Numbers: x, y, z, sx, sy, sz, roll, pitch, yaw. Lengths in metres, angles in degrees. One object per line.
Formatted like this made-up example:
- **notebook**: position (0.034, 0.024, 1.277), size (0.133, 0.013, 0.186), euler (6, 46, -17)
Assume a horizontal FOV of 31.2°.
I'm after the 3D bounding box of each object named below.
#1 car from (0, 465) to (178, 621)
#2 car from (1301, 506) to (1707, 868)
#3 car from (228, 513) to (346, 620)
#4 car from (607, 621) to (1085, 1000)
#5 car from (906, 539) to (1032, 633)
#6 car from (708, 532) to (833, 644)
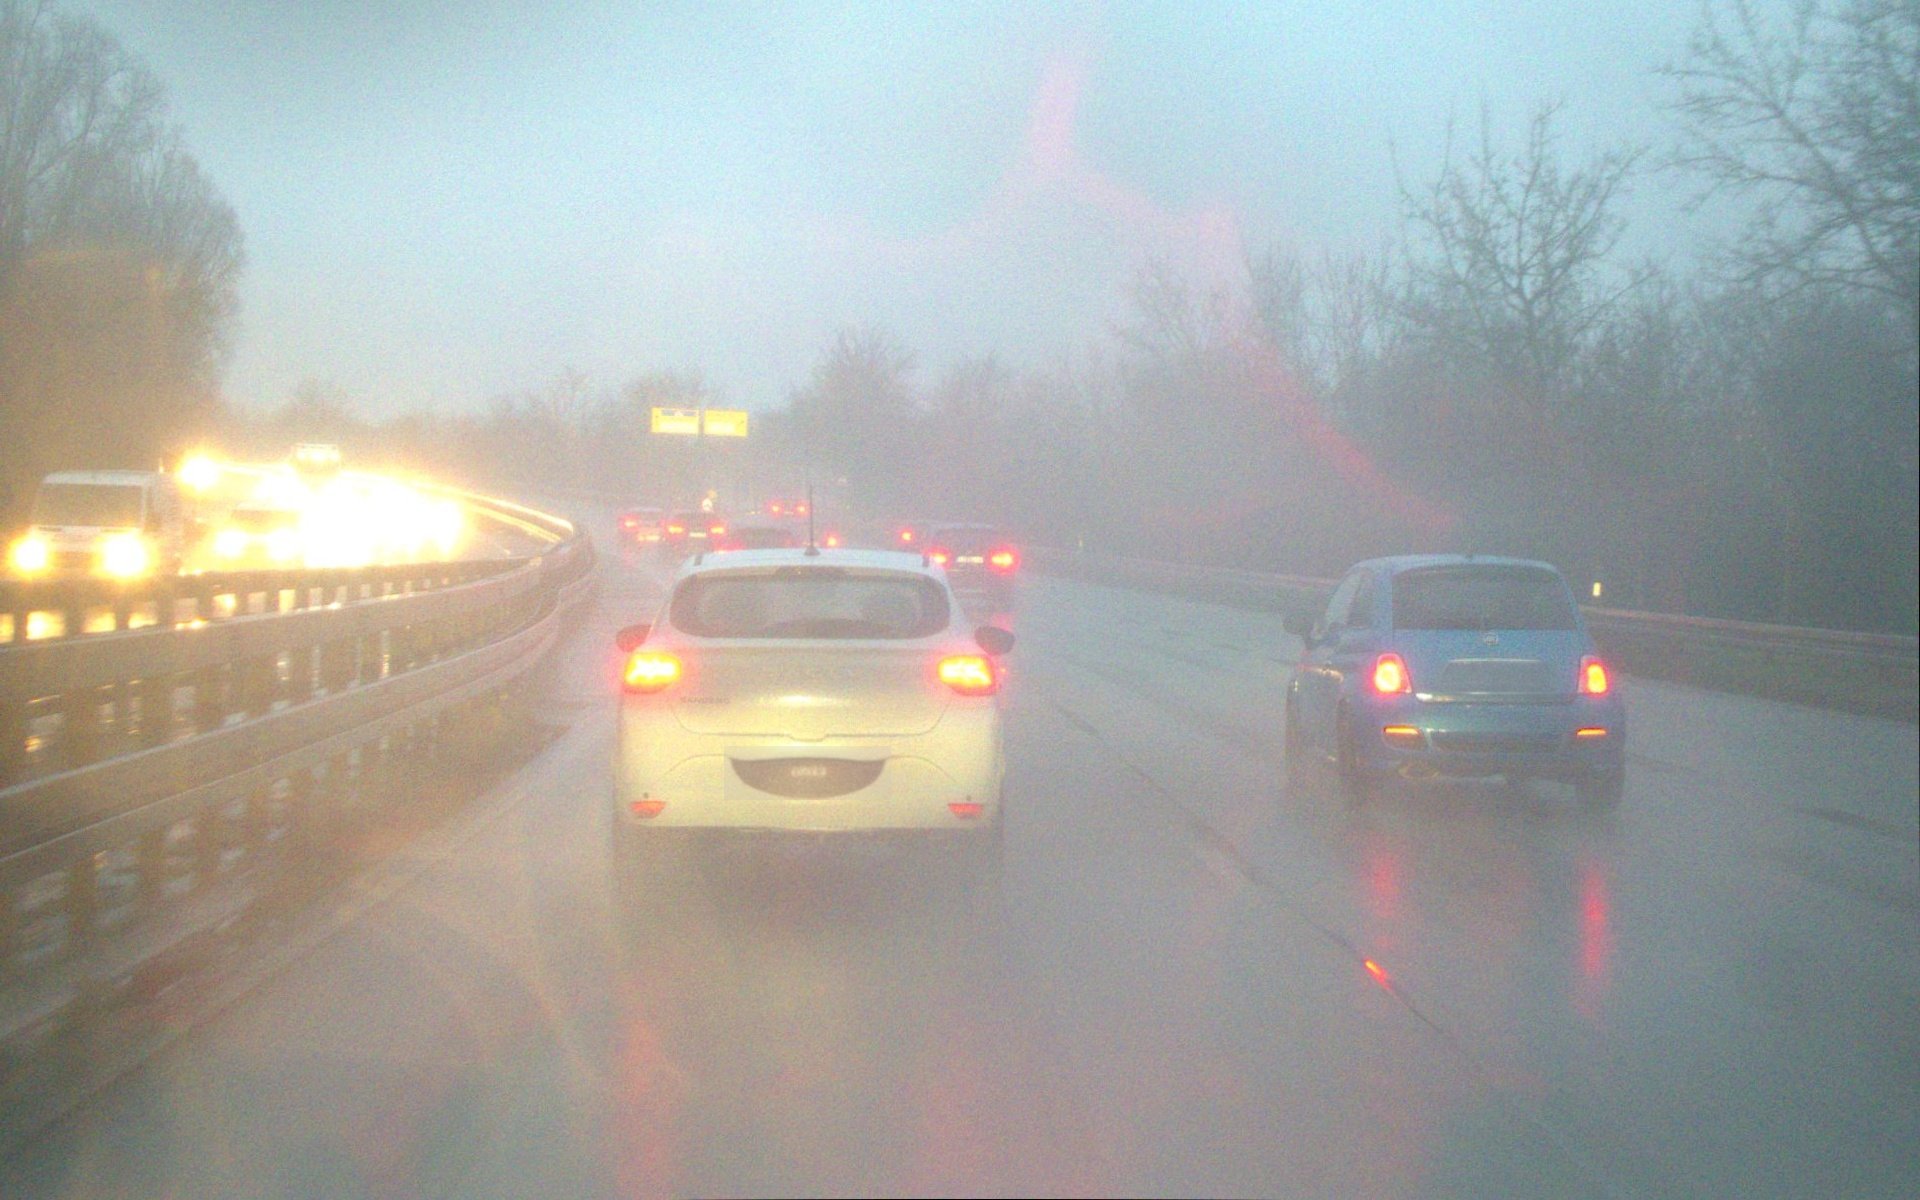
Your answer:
- **car**: position (-14.855, -0.919, 58.492), size (2.145, 2.460, 5.142), euler (2, 0, -4)
- **car**: position (3.310, 0.510, 21.626), size (1.932, 2.012, 3.773), euler (2, 0, 1)
- **car**: position (-16.443, -0.782, 84.247), size (2.145, 2.460, 5.142), euler (2, 0, -4)
- **car**: position (-0.481, 0.928, 16.957), size (2.025, 1.569, 4.000), euler (2, 0, 1)
- **car**: position (0.145, -0.243, 66.716), size (1.932, 1.541, 3.773), euler (-3, -2, -7)
- **car**: position (-3.630, -0.219, 65.387), size (1.993, 2.007, 4.001), euler (2, 0, -8)
